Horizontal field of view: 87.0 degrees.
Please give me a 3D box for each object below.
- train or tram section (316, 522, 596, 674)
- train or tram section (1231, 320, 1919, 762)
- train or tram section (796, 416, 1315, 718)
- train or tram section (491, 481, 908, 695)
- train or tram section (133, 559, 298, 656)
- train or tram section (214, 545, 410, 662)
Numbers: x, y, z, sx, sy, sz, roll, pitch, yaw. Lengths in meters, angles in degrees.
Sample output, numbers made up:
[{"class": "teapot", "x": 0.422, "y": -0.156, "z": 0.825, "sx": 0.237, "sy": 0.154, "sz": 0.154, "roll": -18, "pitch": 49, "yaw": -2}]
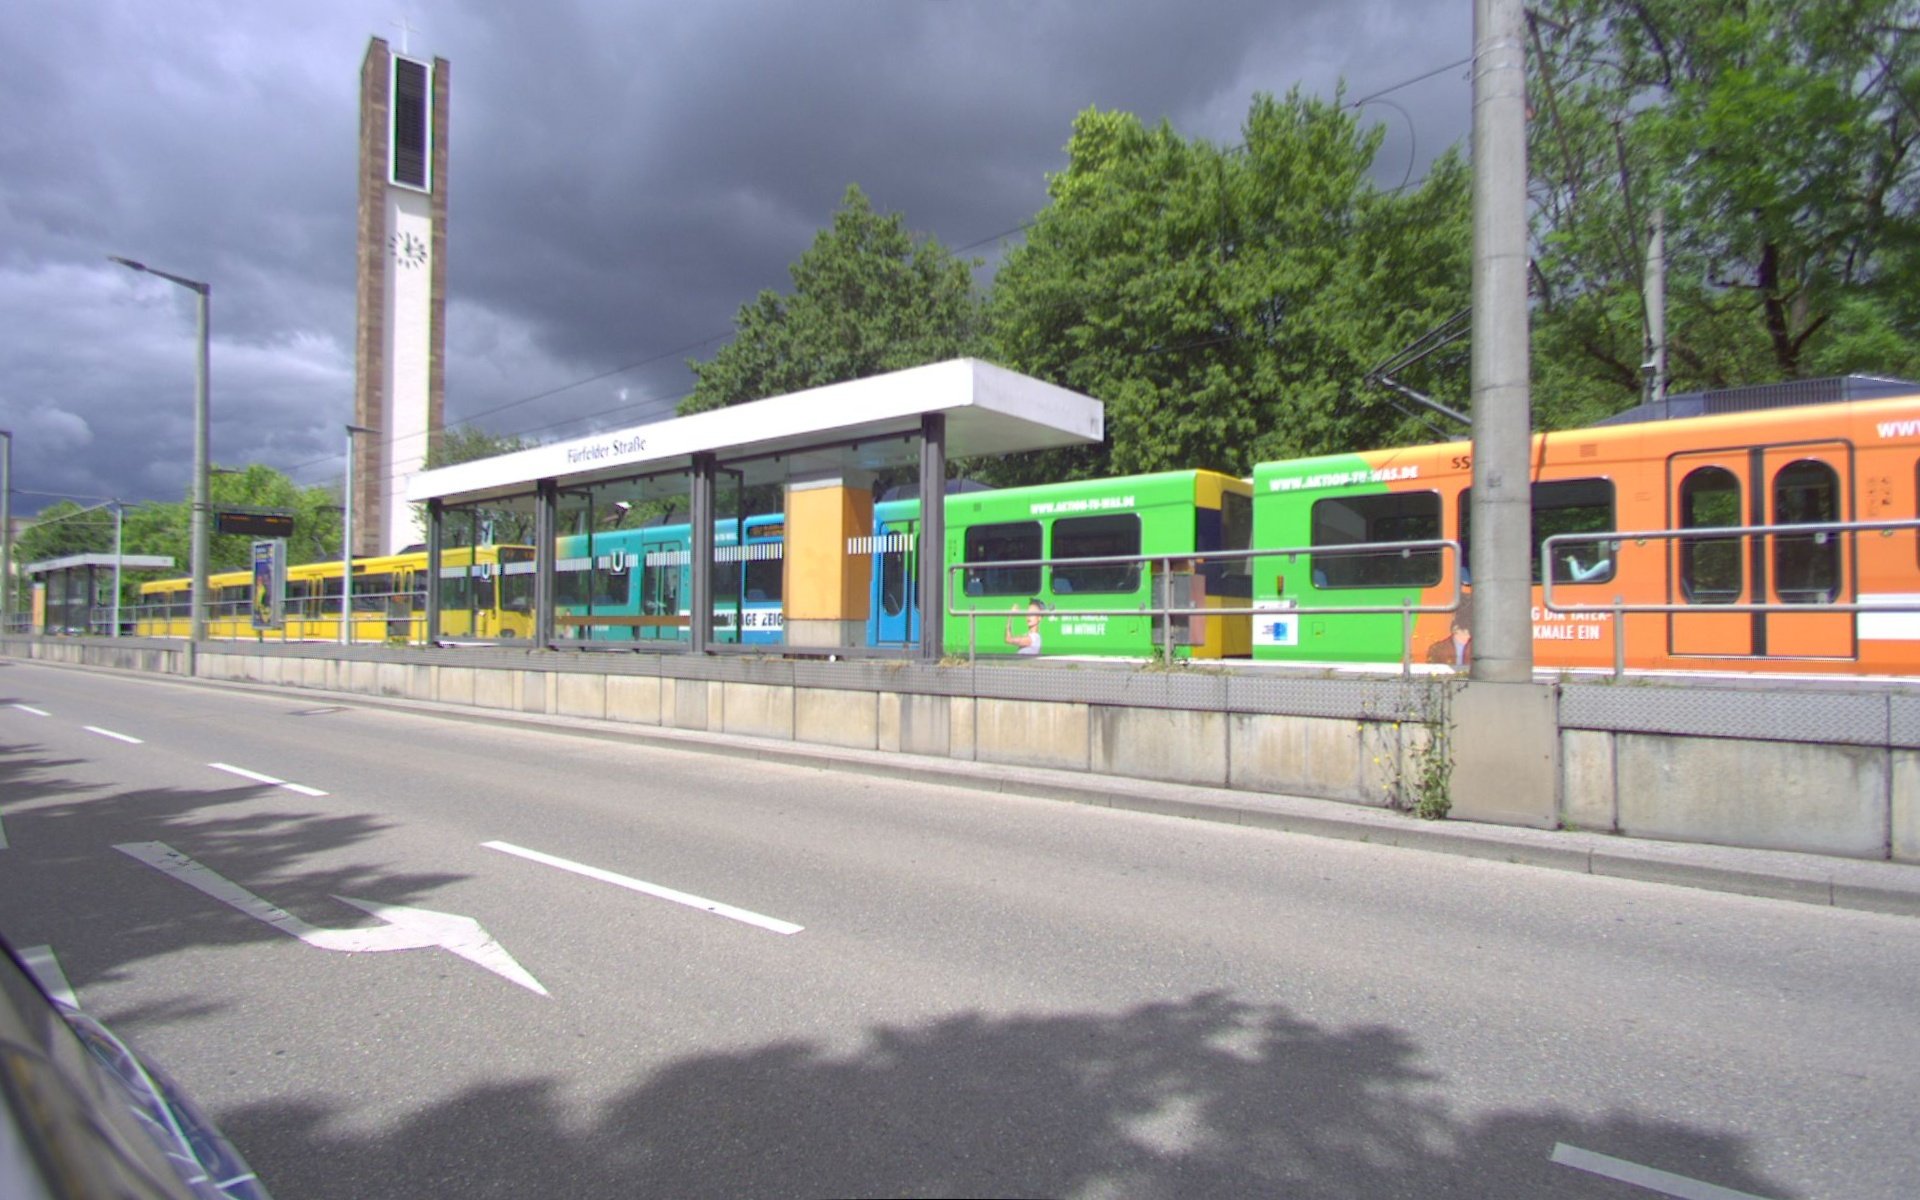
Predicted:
[{"class": "train or tram section", "x": -15.759, "y": 0.029, "z": 30.890, "sx": 12.189, "sy": 3.892, "sz": 2.951, "roll": -1, "pitch": 0, "yaw": 40}, {"class": "train or tram section", "x": 11.561, "y": -0.572, "z": 8.229, "sx": 18.520, "sy": 3.892, "sz": 2.951, "roll": -1, "pitch": 0, "yaw": 40}, {"class": "train or tram section", "x": 1.191, "y": -0.380, "z": 16.828, "sx": 8.370, "sy": 3.892, "sz": 2.951, "roll": -1, "pitch": 0, "yaw": 40}, {"class": "train or tram section", "x": -6.534, "y": -0.142, "z": 23.280, "sx": 11.775, "sy": 3.892, "sz": 2.951, "roll": -1, "pitch": 0, "yaw": 40}, {"class": "train or tram section", "x": -34.150, "y": 0.371, "z": 46.086, "sx": 13.137, "sy": 3.892, "sz": 2.951, "roll": -1, "pitch": 0, "yaw": 40}, {"class": "train or tram section", "x": -24.777, "y": 0.196, "z": 38.342, "sx": 11.096, "sy": 3.892, "sz": 2.951, "roll": -1, "pitch": 0, "yaw": 39}]
